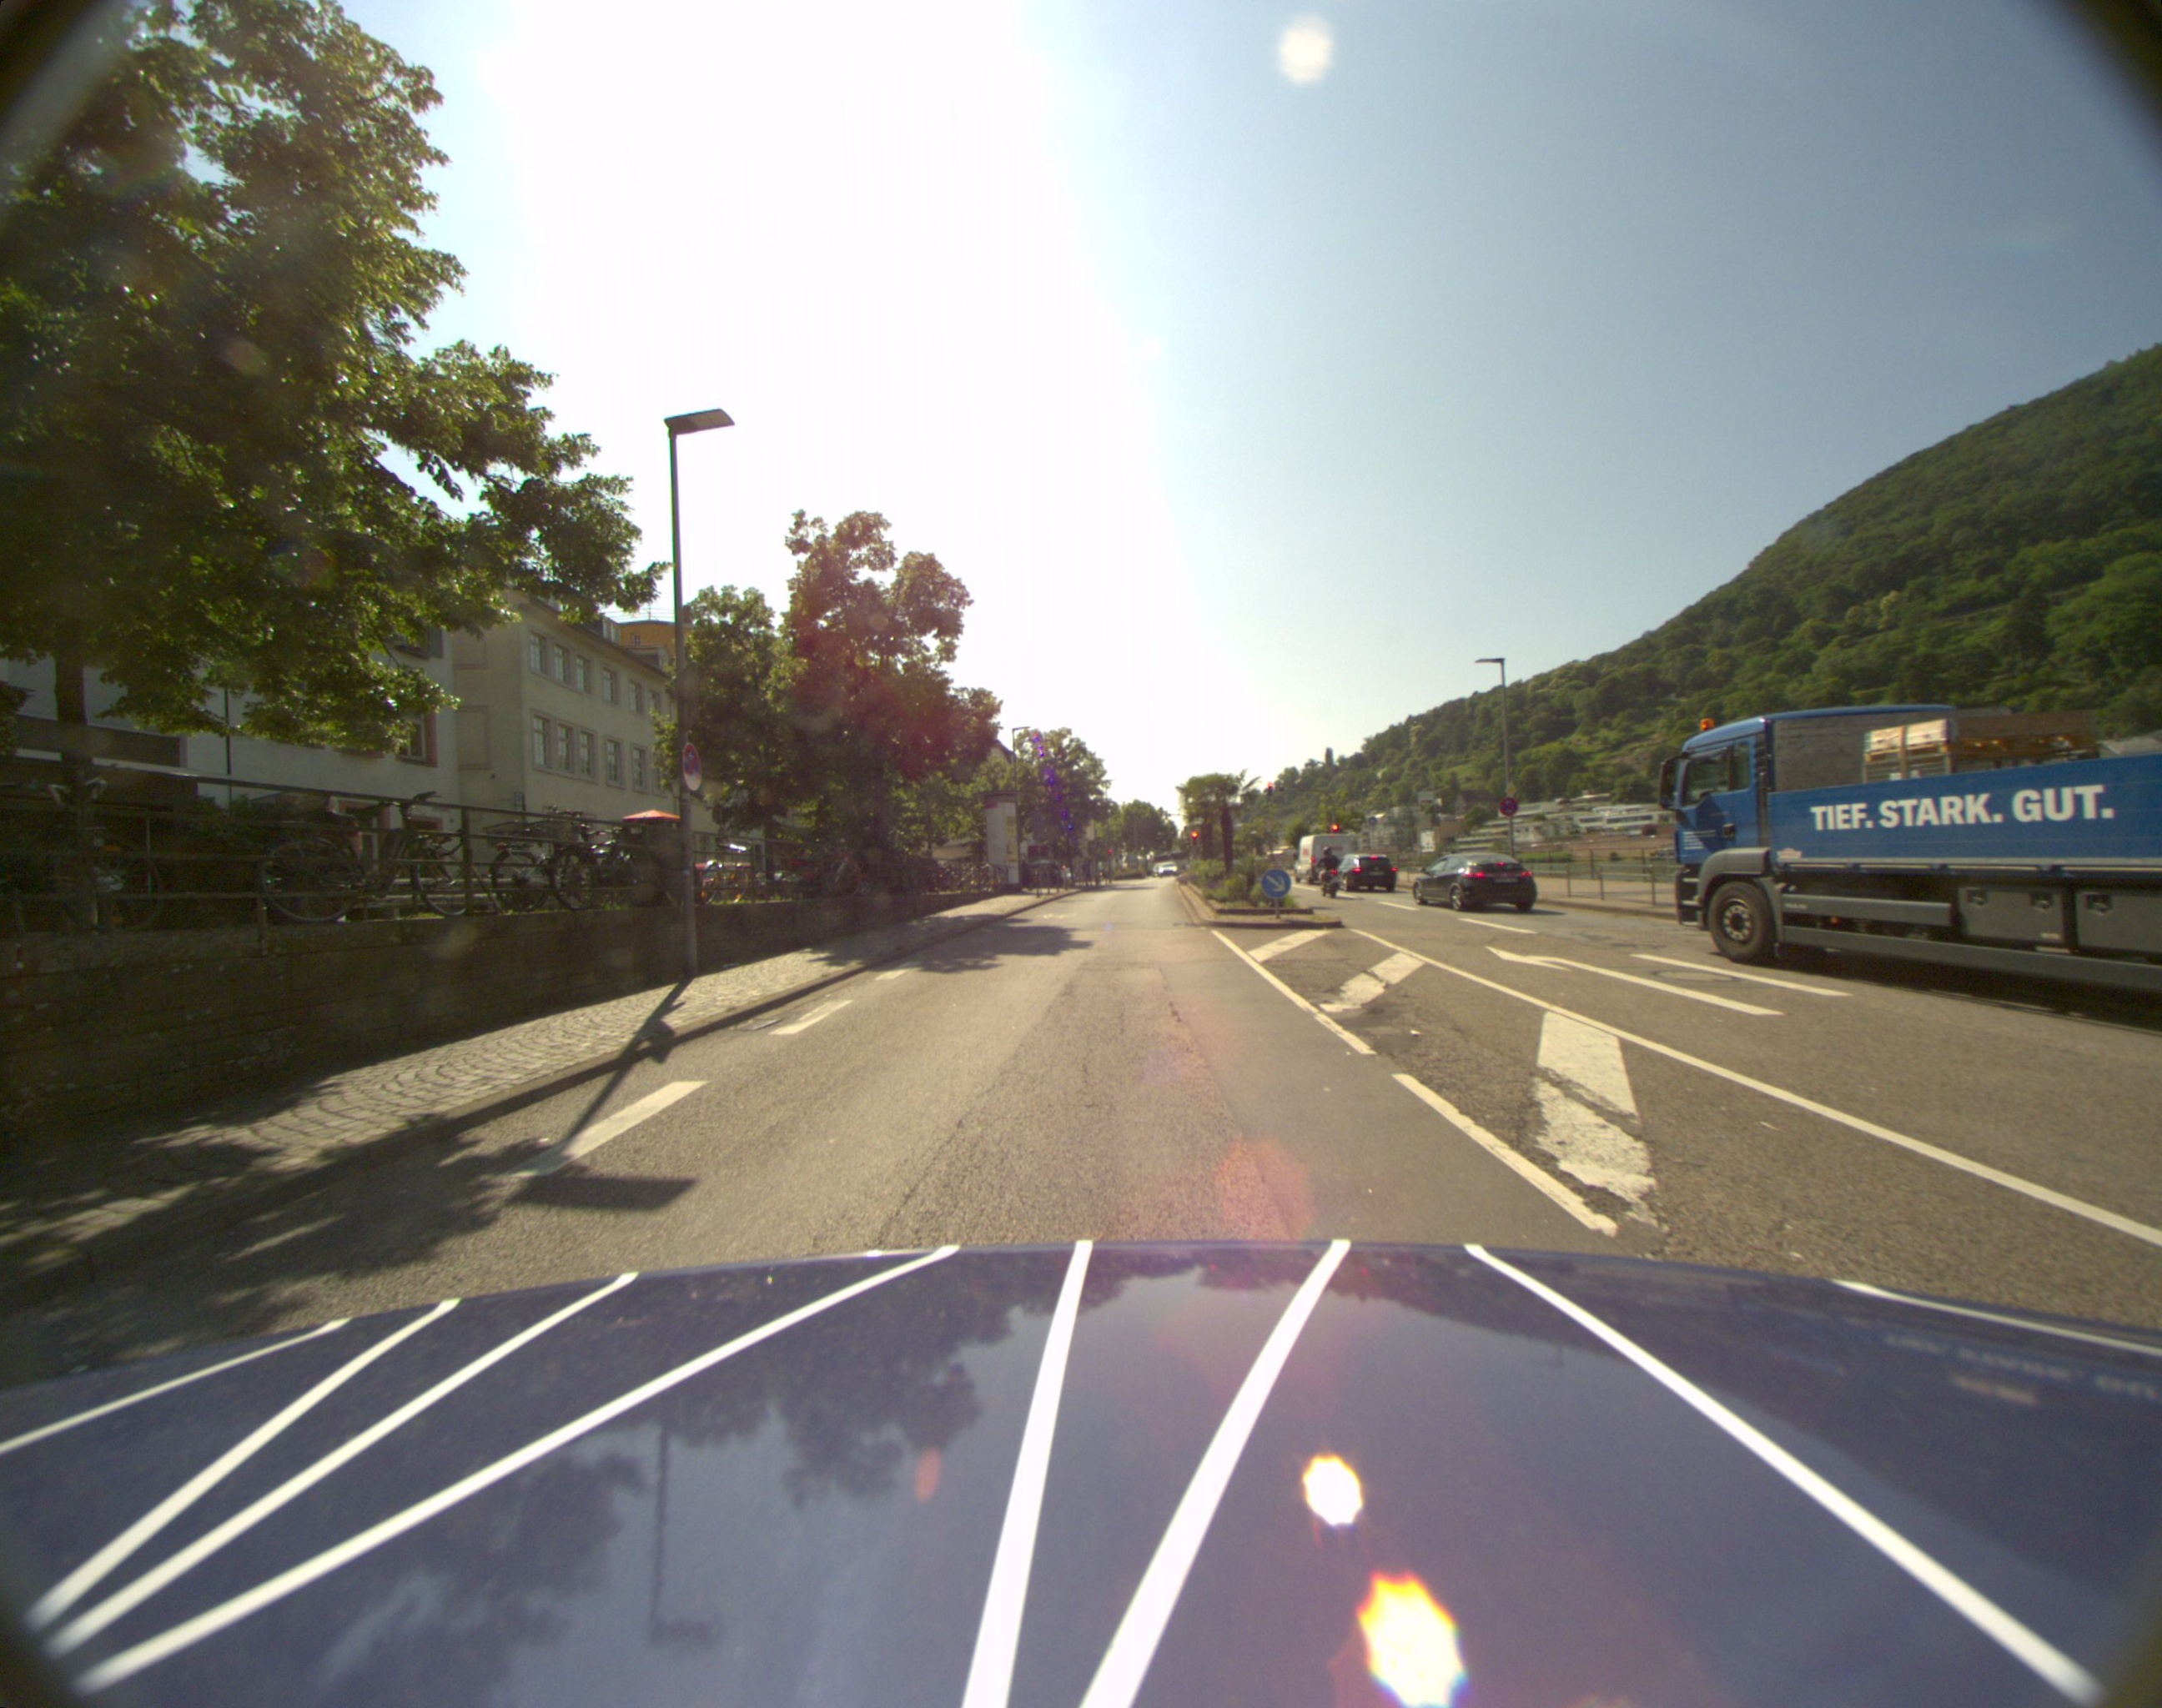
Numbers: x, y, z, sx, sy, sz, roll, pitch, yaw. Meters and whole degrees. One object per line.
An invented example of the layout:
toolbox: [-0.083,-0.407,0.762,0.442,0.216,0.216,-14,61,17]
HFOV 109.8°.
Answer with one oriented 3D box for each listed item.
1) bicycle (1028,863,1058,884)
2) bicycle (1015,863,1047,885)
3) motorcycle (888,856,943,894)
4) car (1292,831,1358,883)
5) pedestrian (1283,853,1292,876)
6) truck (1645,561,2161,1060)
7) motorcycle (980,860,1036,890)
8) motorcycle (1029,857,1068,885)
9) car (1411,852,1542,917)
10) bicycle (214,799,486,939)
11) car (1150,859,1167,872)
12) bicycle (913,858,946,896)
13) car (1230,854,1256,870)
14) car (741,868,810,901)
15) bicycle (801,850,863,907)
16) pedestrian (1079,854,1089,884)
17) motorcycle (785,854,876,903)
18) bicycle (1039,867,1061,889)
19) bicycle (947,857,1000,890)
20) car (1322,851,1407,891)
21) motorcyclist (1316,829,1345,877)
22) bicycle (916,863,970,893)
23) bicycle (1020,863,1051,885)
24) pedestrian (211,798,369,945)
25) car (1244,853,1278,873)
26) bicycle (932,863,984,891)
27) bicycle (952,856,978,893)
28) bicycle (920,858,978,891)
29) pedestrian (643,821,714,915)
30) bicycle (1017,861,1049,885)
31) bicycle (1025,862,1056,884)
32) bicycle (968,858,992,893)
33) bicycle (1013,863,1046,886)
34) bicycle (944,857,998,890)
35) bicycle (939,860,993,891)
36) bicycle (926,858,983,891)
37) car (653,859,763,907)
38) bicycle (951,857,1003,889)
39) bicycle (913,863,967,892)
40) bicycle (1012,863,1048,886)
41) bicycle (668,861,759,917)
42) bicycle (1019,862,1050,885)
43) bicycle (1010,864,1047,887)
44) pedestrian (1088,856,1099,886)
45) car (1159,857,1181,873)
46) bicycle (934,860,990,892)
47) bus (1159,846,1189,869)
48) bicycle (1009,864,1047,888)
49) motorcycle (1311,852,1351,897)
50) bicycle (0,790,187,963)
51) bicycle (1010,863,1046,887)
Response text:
bicycle: [-2.060,1.058,41.135,1.628,1.163,0.367,-1,0,23]
bicycle: [-2.537,1.023,38.612,1.631,1.126,0.413,0,0,1]
motorcycle: [-6.000,0.741,27.488,2.156,1.305,0.650,0,0,34]
car: [12.325,0.138,38.703,2.199,2.511,4.751,0,0,5]
pedestrian: [16.053,0.821,59.071,0.593,1.741,0.503,-2,0,3]
truck: [8.803,-0.334,5.203,2.647,3.456,11.112,-2,0,6]
motorcycle: [-3.353,0.967,34.820,2.531,1.267,0.725,-2,0,28]
motorcycle: [-1.835,0.950,42.459,2.196,1.519,0.800,-2,0,41]
car: [10.071,0.708,19.684,1.660,1.428,4.083,-2,0,7]
bicycle: [-6.025,0.127,6.441,0.298,0.998,1.942,-2,-1,4]
car: [9.824,1.419,96.325,1.998,1.497,4.592,0,0,4]
bicycle: [-4.404,0.666,22.262,0.301,1.042,2.164,0,-1,6]
car: [15.434,0.753,72.625,1.997,1.449,4.646,-2,0,7]
car: [-14.717,1.476,36.770,1.587,1.469,3.564,-2,-2,6]
bicycle: [-5.139,0.479,15.794,0.345,1.106,1.920,-2,0,9]
pedestrian: [0.202,0.919,46.217,0.541,1.767,0.582,-1,0,4]
motorcycle: [-5.894,0.569,17.926,1.920,1.092,0.575,-1,1,-3]
bicycle: [-1.524,1.180,37.615,0.539,1.002,1.756,-2,0,16]
bicycle: [-4.540,0.824,32.217,2.160,1.360,0.477,0,0,5]
car: [11.296,0.643,30.633,1.997,1.410,4.922,-2,0,6]
motorcyclist: [8.227,-0.028,25.090,0.703,1.518,0.861,-2,0,7]
bicycle: [-5.236,0.907,28.913,1.966,1.105,0.477,0,1,5]
bicycle: [-2.403,1.051,40.197,1.631,1.163,0.350,0,0,1]
pedestrian: [-7.182,0.155,6.932,0.696,1.257,0.669,-2,0,1]
car: [14.331,0.712,60.696,1.998,1.444,4.263,-3,0,5]
bicycle: [-4.892,0.921,30.266,2.027,1.086,0.338,0,0,5]
bicycle: [-4.031,0.688,26.524,0.476,1.254,2.163,0,0,3]
bicycle: [-5.094,0.784,29.420,2.160,1.254,0.477,0,0,5]
pedestrian: [-6.281,0.215,11.887,0.669,1.407,0.697,-2,0,4]
bicycle: [-2.472,0.980,39.038,1.631,1.210,0.413,0,0,1]
bicycle: [-2.181,1.046,40.851,1.628,1.163,0.425,-1,0,23]
bicycle: [-3.814,0.793,28.774,0.476,1.254,2.163,0,0,3]
bicycle: [-2.596,1.027,38.180,1.631,1.126,0.413,0,0,1]
bicycle: [-4.595,0.825,31.713,2.160,1.360,0.477,0,0,5]
bicycle: [-4.715,0.881,31.192,2.160,1.254,0.477,0,0,5]
bicycle: [-4.989,0.805,29.877,2.160,1.254,0.421,0,0,5]
car: [-15.325,1.198,31.569,1.835,1.789,4.740,-2,-2,6]
bicycle: [-4.482,0.824,32.758,2.160,1.360,0.584,0,0,5]
bicycle: [-5.268,0.877,28.445,1.953,1.094,0.423,0,0,5]
bicycle: [-2.554,1.022,37.873,1.753,1.126,0.464,0,0,1]
bicycle: [-5.582,0.497,11.643,0.350,0.779,1.919,-2,0,3]
bicycle: [-2.444,1.028,39.894,1.631,1.210,0.413,0,0,1]
bicycle: [-2.551,1.039,36.940,1.753,1.126,0.464,0,0,1]
pedestrian: [0.756,1.025,45.485,0.541,1.767,0.583,-1,0,10]
car: [8.783,1.061,74.887,1.997,1.497,4.595,-2,-1,7]
bicycle: [-4.792,0.882,30.691,2.160,1.254,0.477,0,0,5]
bus: [14.131,0.521,116.704,2.656,3.368,10.792,-2,0,-3]
bicycle: [-2.525,1.046,36.353,1.753,1.126,0.540,0,0,-1]
motorcycle: [8.157,0.639,24.876,0.727,1.379,2.513,-2,0,7]
bicycle: [-6.401,0.133,4.327,0.298,0.998,1.861,-2,-1,4]
bicycle: [-2.602,1.030,37.437,1.753,1.126,0.464,0,0,1]
